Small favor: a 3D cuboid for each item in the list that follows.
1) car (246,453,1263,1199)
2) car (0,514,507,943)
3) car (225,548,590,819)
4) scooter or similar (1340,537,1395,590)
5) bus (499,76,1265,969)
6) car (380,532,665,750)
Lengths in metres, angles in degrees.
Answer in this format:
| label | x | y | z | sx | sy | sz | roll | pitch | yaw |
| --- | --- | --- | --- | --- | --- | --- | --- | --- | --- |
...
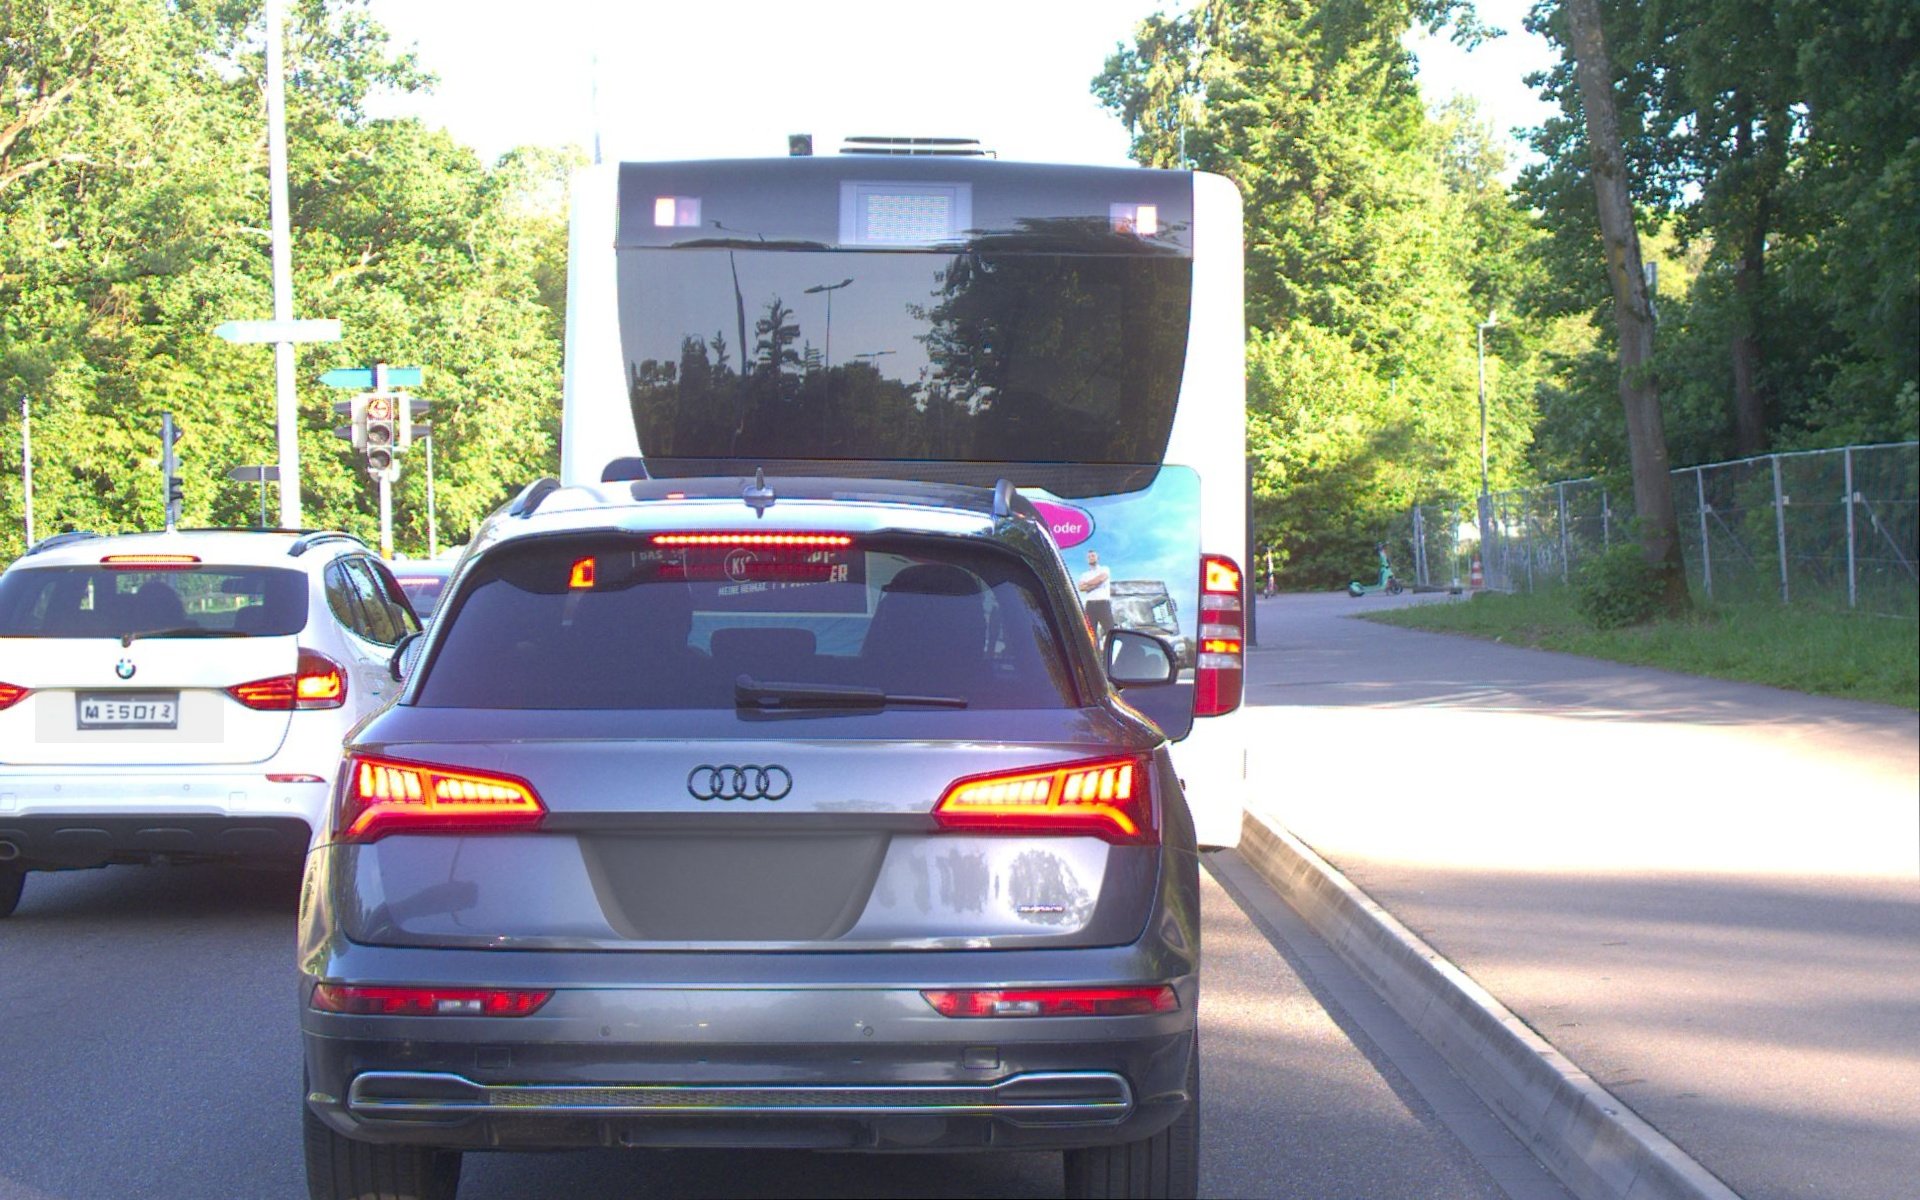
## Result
| label | x | y | z | sx | sy | sz | roll | pitch | yaw |
| --- | --- | --- | --- | --- | --- | --- | --- | --- | --- |
| car | -0.407 | 0.515 | 8.376 | 1.868 | 1.658 | 4.000 | 1 | 2 | -1 |
| car | -3.111 | 0.468 | 14.977 | 1.718 | 1.575 | 4.434 | 1 | 0 | -1 |
| car | -3.318 | 0.436 | 21.347 | 1.785 | 1.439 | 4.279 | 1 | 2 | -3 |
| scooter or similar | 9.248 | -0.832 | 78.032 | 1.184 | 1.170 | 0.659 | 1 | 1 | 11 |
| bus | -0.249 | -0.354 | 15.143 | 2.678 | 3.131 | 5.882 | 1 | 2 | 1 |
| car | -3.437 | 0.269 | 27.644 | 1.808 | 1.567 | 4.000 | 1 | 2 | -1 |
